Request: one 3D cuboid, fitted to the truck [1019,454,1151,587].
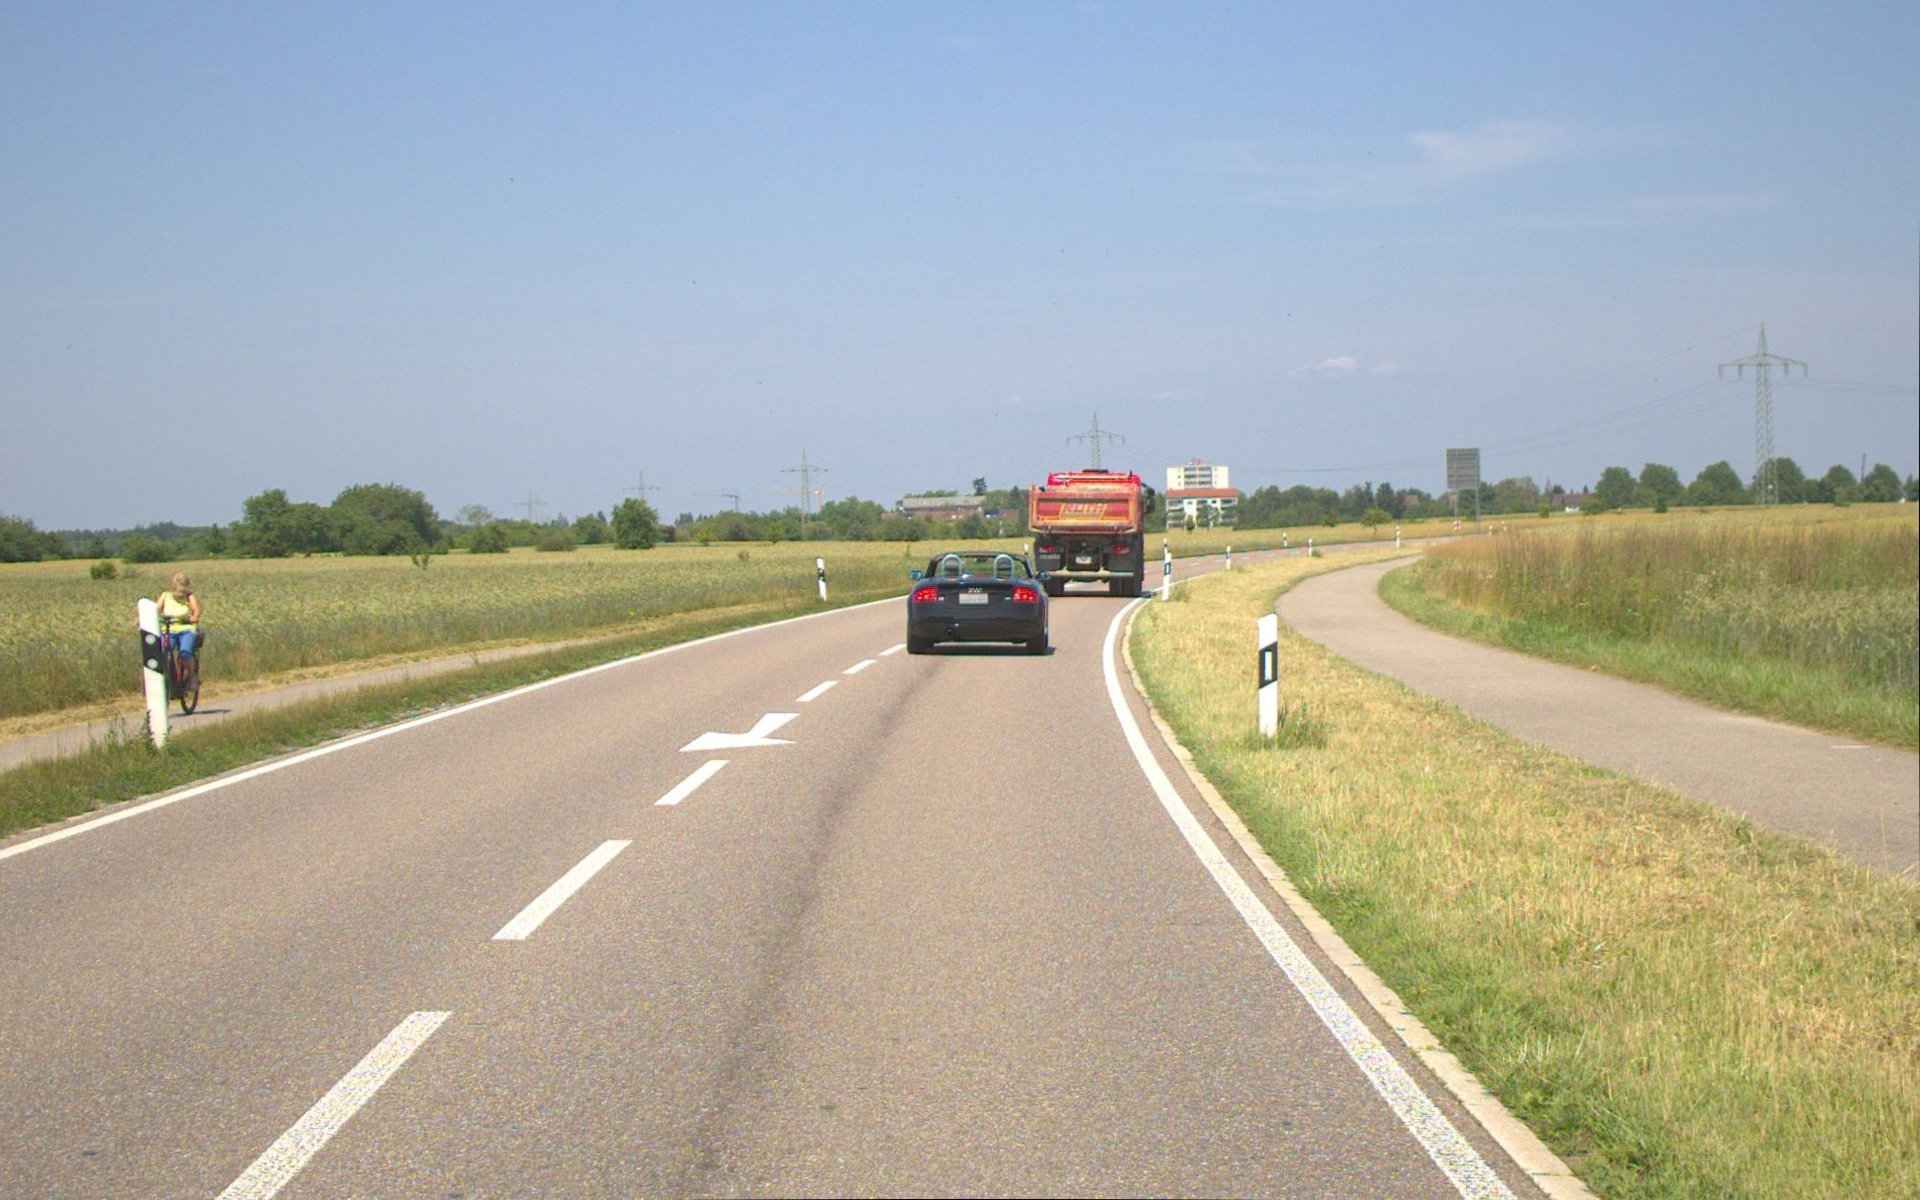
[{"bbox_3d":[3.116,-1.901,83.706,2.938,3.078,7.195,0,1,4],"label":"truck"}]

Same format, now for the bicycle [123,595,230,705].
[{"bbox_3d":[-9.096,0.563,39.975,0.694,1.172,1.963,-2,2,2],"label":"bicycle"}]

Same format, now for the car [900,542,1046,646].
[{"bbox_3d":[0.211,-0.112,44.289,1.744,1.275,4.000,0,1,2],"label":"car"}]

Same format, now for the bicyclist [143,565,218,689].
[{"bbox_3d":[-9.095,0.308,40.136,0.664,1.433,0.823,0,1,1],"label":"bicyclist"}]
